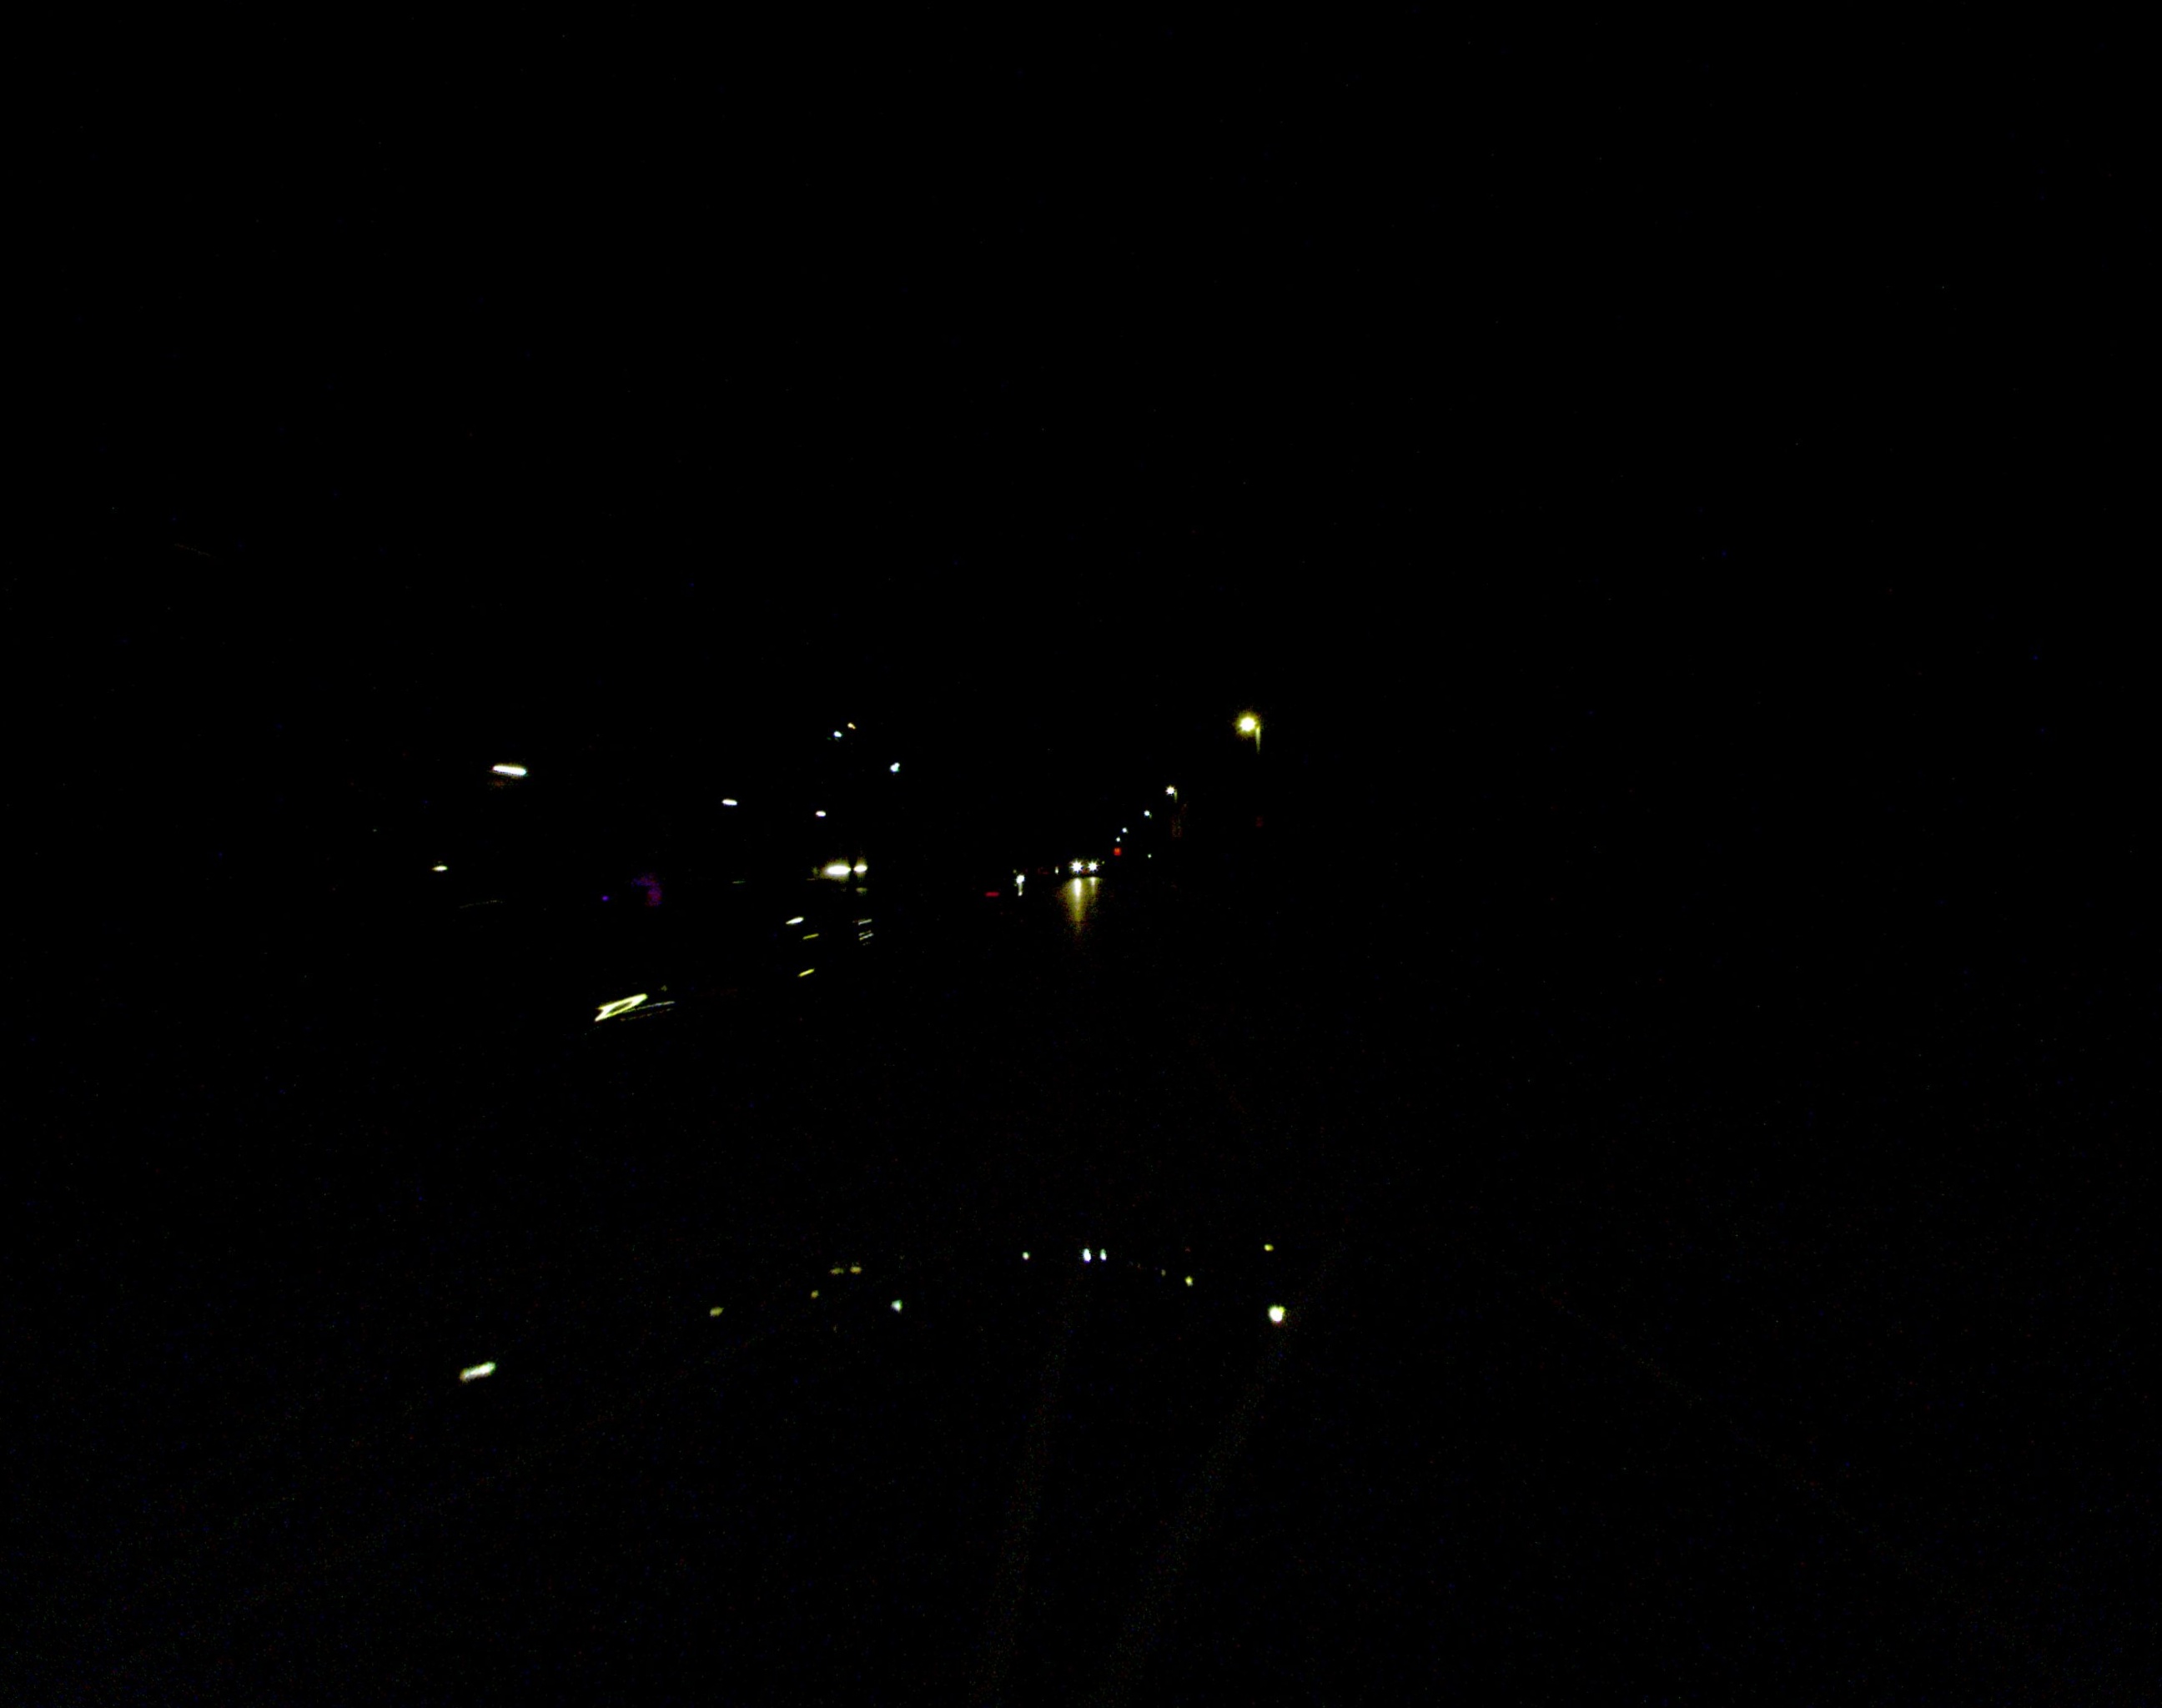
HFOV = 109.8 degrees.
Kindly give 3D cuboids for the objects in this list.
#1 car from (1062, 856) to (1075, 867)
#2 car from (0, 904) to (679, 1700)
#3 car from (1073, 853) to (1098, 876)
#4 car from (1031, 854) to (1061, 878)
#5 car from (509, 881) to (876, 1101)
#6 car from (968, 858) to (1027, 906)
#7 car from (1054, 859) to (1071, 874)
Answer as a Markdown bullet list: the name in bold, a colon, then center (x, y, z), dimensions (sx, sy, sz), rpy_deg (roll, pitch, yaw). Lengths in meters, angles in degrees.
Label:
- **car**: center (-1.755, 1.032, 107.287), dimensions (1.702, 1.447, 3.713), rpy_deg (-2, 0, 0)
- **car**: center (-3.085, 1.031, 2.247), dimensions (1.681, 1.439, 3.999), rpy_deg (-2, 0, -1)
- **car**: center (0.319, 0.687, 53.233), dimensions (1.627, 1.496, 3.549), rpy_deg (-2, 0, 0)
- **car**: center (-2.214, 0.749, 49.065), dimensions (1.702, 1.447, 3.713), rpy_deg (-2, 0, 0)
- **car**: center (-3.281, 1.060, 7.253), dimensions (1.604, 1.390, 3.517), rpy_deg (-2, 0, 1)
- **car**: center (-2.831, 0.919, 26.417), dimensions (1.656, 1.465, 3.517), rpy_deg (-2, 0, 0)
- **car**: center (-1.920, 1.247, 79.210), dimensions (1.702, 1.447, 3.713), rpy_deg (-2, 0, 0)
